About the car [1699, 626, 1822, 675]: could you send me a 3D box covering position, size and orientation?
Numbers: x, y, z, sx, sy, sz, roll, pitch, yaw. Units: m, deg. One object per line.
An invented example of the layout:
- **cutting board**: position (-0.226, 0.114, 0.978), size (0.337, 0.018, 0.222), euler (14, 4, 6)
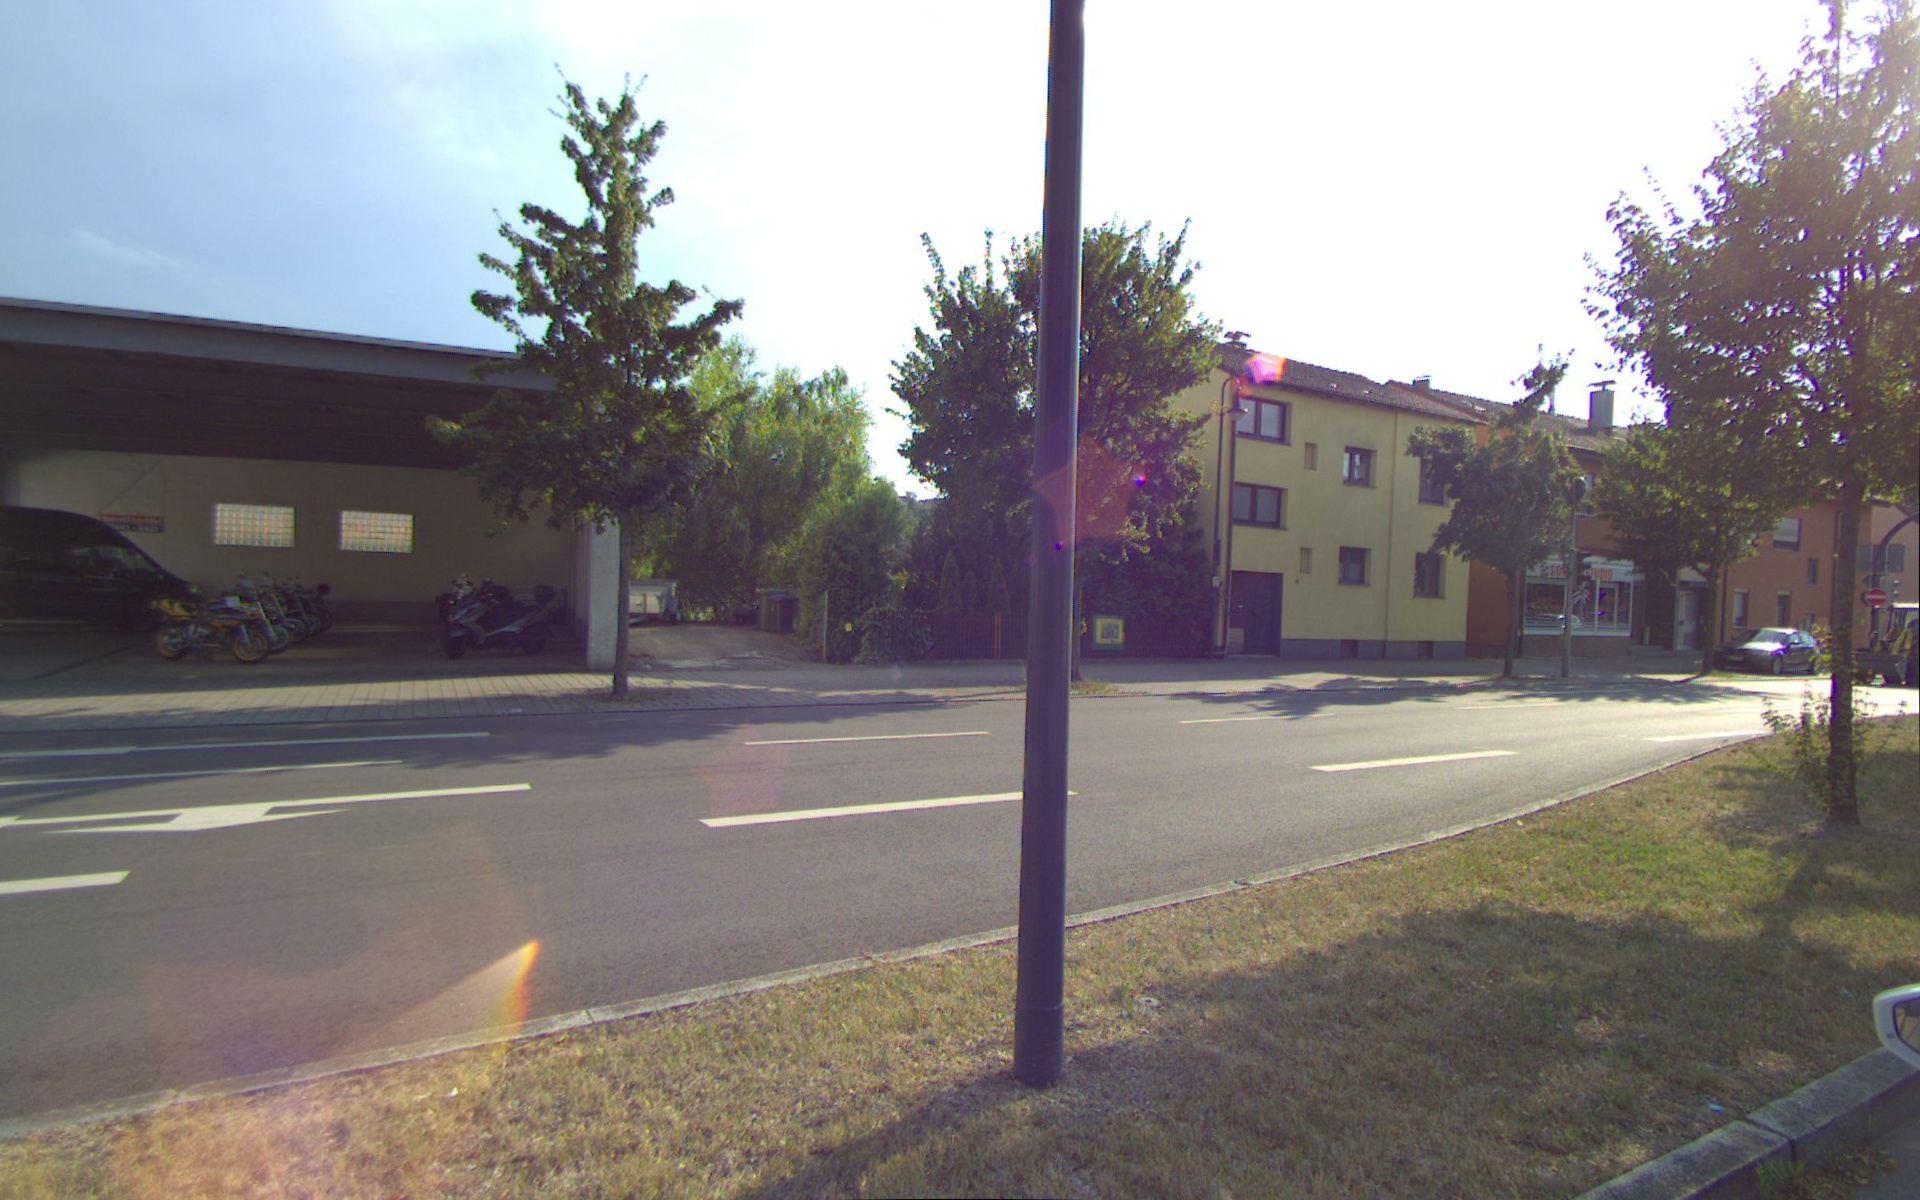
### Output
- **car**: position (25.972, 1.597, 32.555), size (3.953, 1.319, 1.728), euler (1, 4, -30)

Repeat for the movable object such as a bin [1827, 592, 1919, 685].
- **movable object such as a bin**: position (26.839, 1.091, 28.708), size (4.396, 2.474, 1.729), euler (2, -1, -29)

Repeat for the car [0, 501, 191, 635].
- **car**: position (-20.450, -0.675, 22.092), size (1.962, 2.789, 5.280), euler (1, 0, 26)

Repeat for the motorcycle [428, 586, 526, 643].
- **motorcycle**: position (-11.764, 0.317, 24.538), size (0.621, 1.314, 2.113), euler (1, 2, 36)

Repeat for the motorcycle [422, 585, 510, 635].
- **motorcycle**: position (-13.510, 0.246, 27.519), size (0.621, 1.314, 2.113), euler (1, 2, 36)

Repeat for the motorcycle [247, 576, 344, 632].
- **motorcycle**: position (-16.906, 0.109, 25.574), size (2.219, 1.354, 0.631), euler (1, 0, 10)

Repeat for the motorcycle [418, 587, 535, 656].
- **motorcycle**: position (-9.809, 0.406, 20.460), size (0.621, 1.314, 2.113), euler (1, 2, 36)

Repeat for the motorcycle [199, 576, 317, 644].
- **motorcycle**: position (-14.750, 0.210, 21.105), size (2.219, 1.354, 0.631), euler (1, 0, 10)

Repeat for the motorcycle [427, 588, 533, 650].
- **motorcycle**: position (-10.739, 0.389, 22.538), size (0.621, 1.314, 2.113), euler (1, 2, 36)

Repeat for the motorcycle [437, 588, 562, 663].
- **motorcycle**: position (-8.616, 0.434, 18.898), size (0.621, 1.314, 2.113), euler (1, 2, 36)

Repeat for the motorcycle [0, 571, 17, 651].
- **motorcycle**: position (-17.284, 0.174, 16.725), size (0.619, 1.380, 2.225), euler (1, 0, 24)

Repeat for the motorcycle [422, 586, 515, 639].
- **motorcycle**: position (-12.646, 0.298, 25.921), size (0.621, 1.314, 2.113), euler (1, 2, 36)

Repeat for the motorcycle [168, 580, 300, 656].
- **motorcycle**: position (-13.629, 0.324, 18.863), size (2.219, 1.354, 0.631), euler (1, 0, 10)

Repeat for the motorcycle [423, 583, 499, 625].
- **motorcycle**: position (-15.957, 0.108, 32.178), size (0.621, 1.314, 2.113), euler (1, 2, 36)

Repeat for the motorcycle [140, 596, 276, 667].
- **motorcycle**: position (-12.494, 0.508, 16.698), size (1.993, 1.101, 0.631), euler (1, 0, 12)

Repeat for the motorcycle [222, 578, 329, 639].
- **motorcycle**: position (-15.882, 0.187, 23.315), size (2.219, 1.354, 0.631), euler (1, 0, 10)

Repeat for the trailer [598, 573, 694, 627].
- **trailer**: position (-8.215, -0.001, 26.618), size (1.698, 1.280, 3.995), euler (1, 0, -7)
